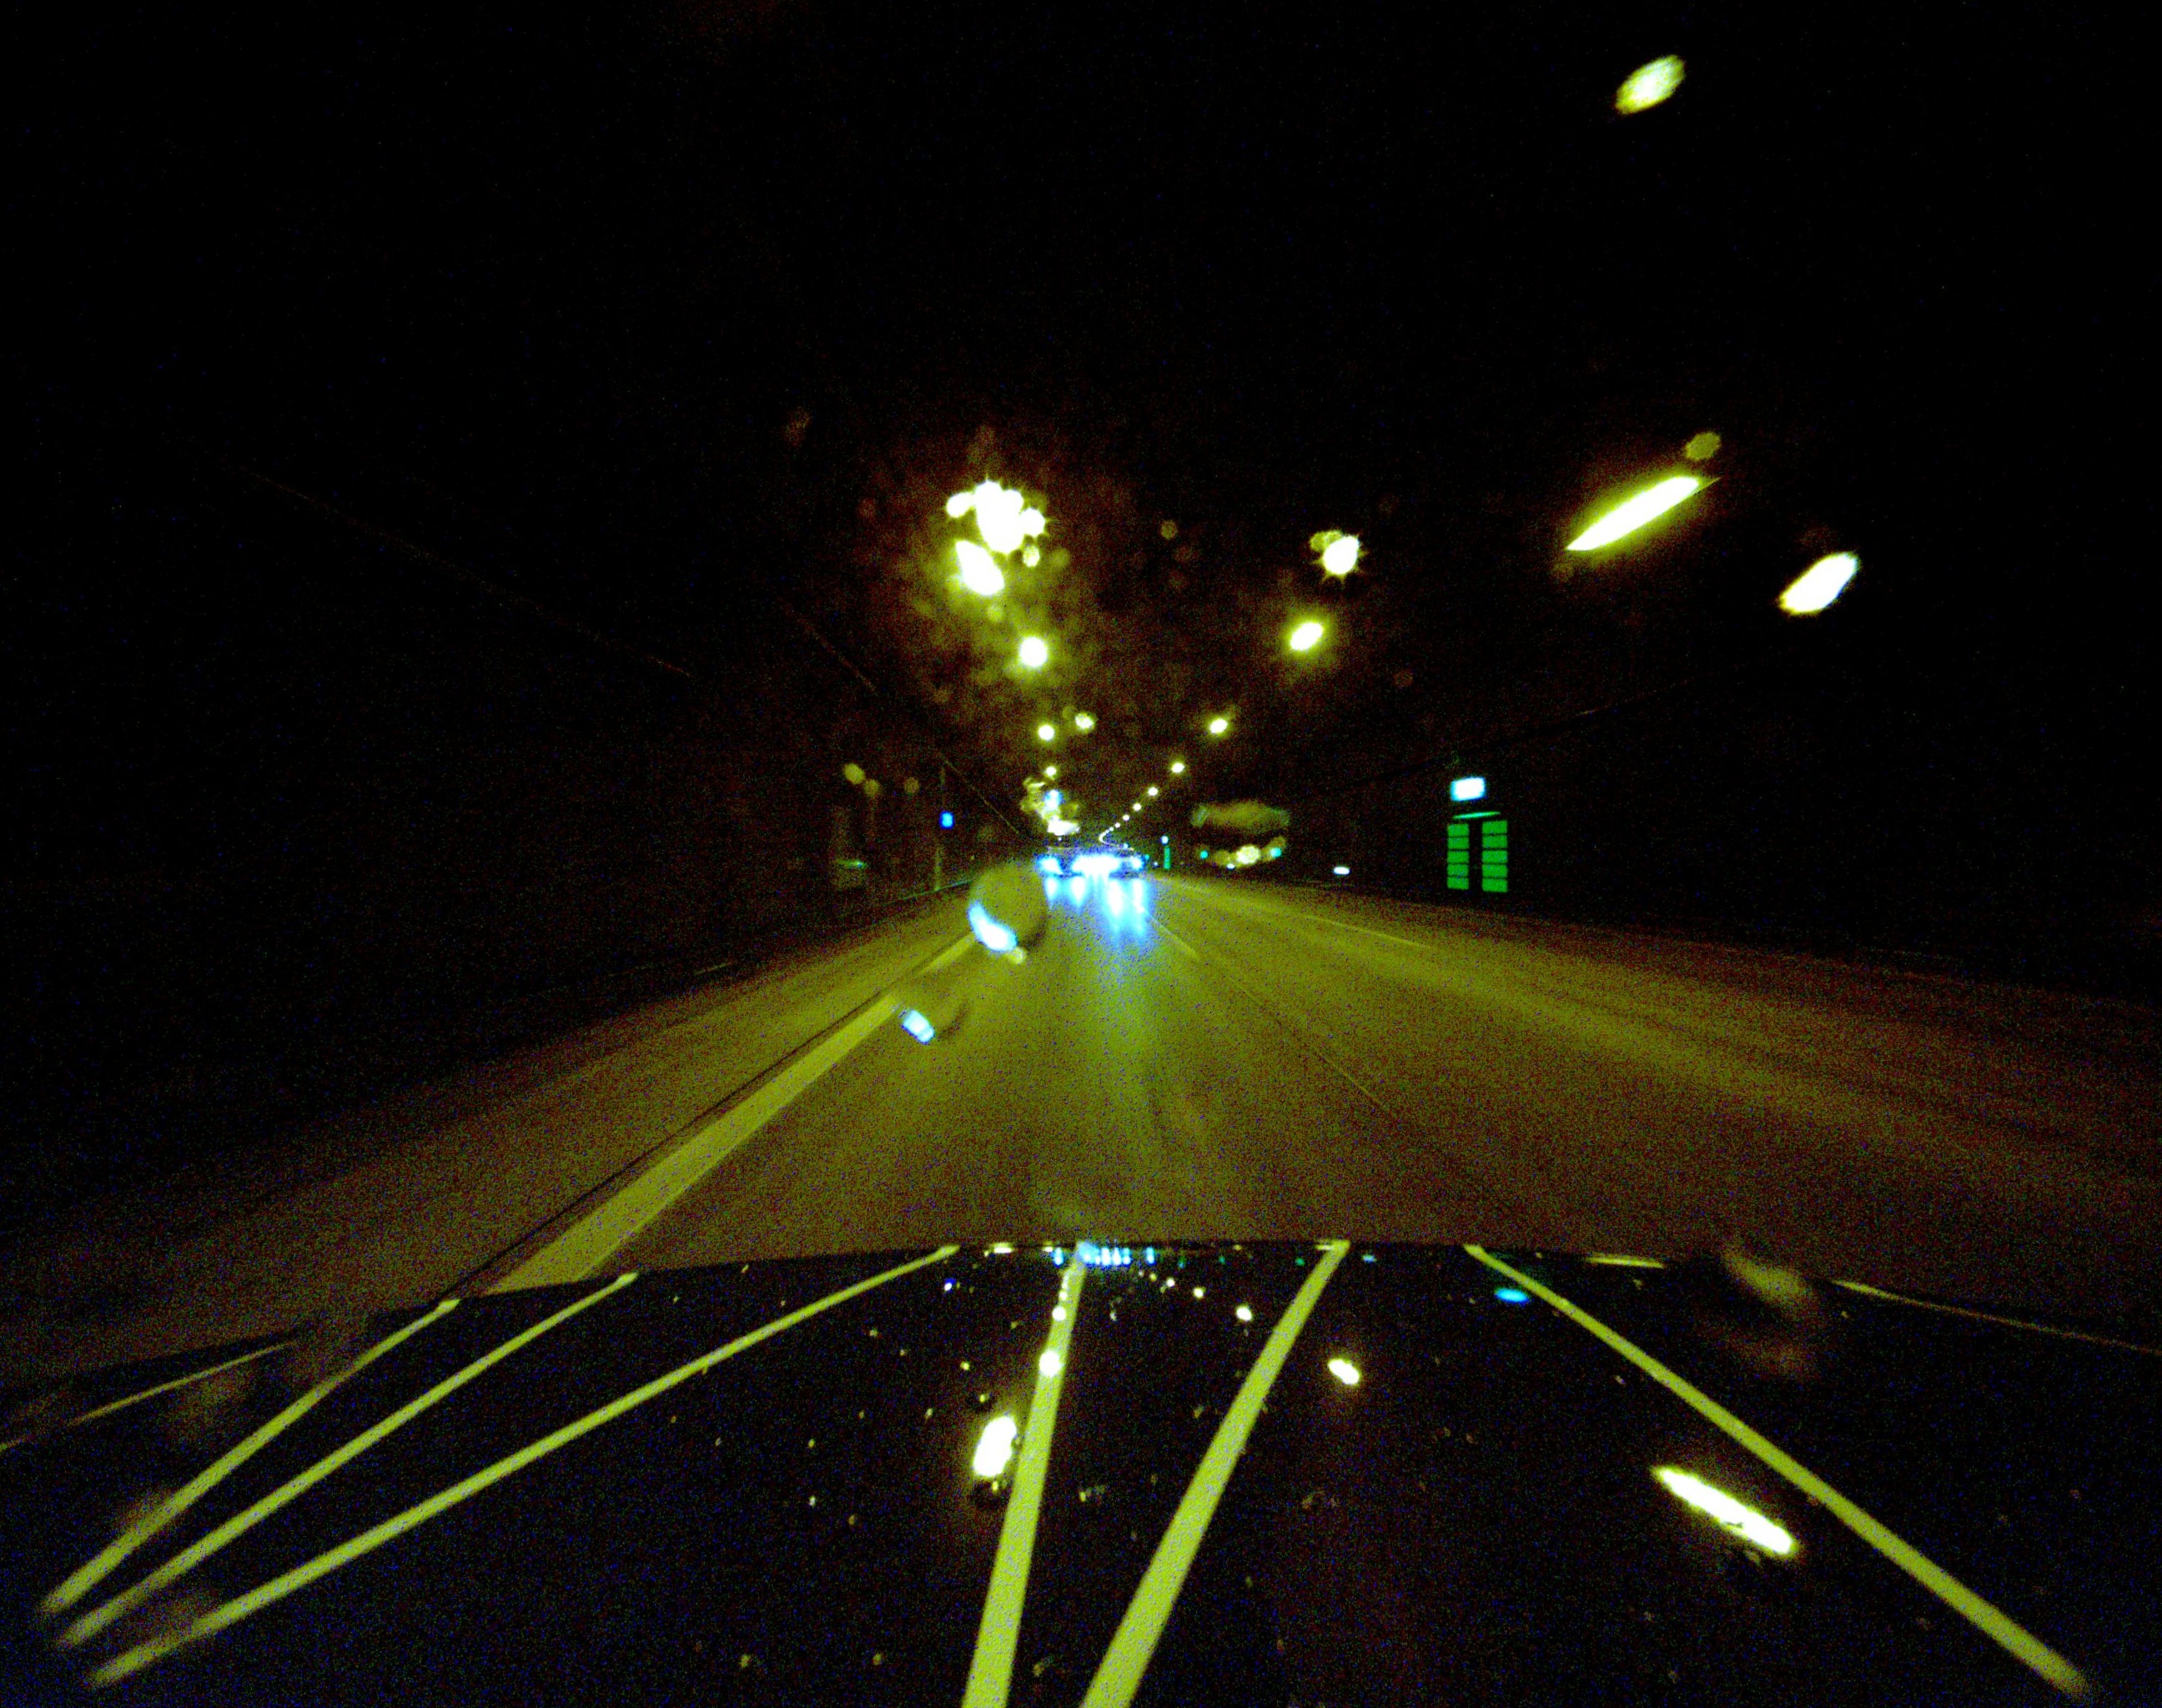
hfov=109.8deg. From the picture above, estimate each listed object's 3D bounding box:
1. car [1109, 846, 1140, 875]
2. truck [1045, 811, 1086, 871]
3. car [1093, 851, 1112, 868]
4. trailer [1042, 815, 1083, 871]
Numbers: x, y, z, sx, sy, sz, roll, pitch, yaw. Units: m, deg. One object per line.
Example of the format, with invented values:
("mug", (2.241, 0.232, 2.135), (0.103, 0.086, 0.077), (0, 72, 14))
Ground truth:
("car", (2.993, 0.432, 52.541), (1.998, 1.890, 4.000), (0, 0, 1))
("truck", (-1.245, -0.971, 56.729), (2.654, 4.139, 6.002), (2, 1, -4))
("car", (2.441, 0.600, 86.702), (1.998, 1.890, 4.000), (-2, 0, 2))
("trailer", (-1.736, -0.853, 63.715), (2.628, 4.139, 13.994), (1, 0, -4))
